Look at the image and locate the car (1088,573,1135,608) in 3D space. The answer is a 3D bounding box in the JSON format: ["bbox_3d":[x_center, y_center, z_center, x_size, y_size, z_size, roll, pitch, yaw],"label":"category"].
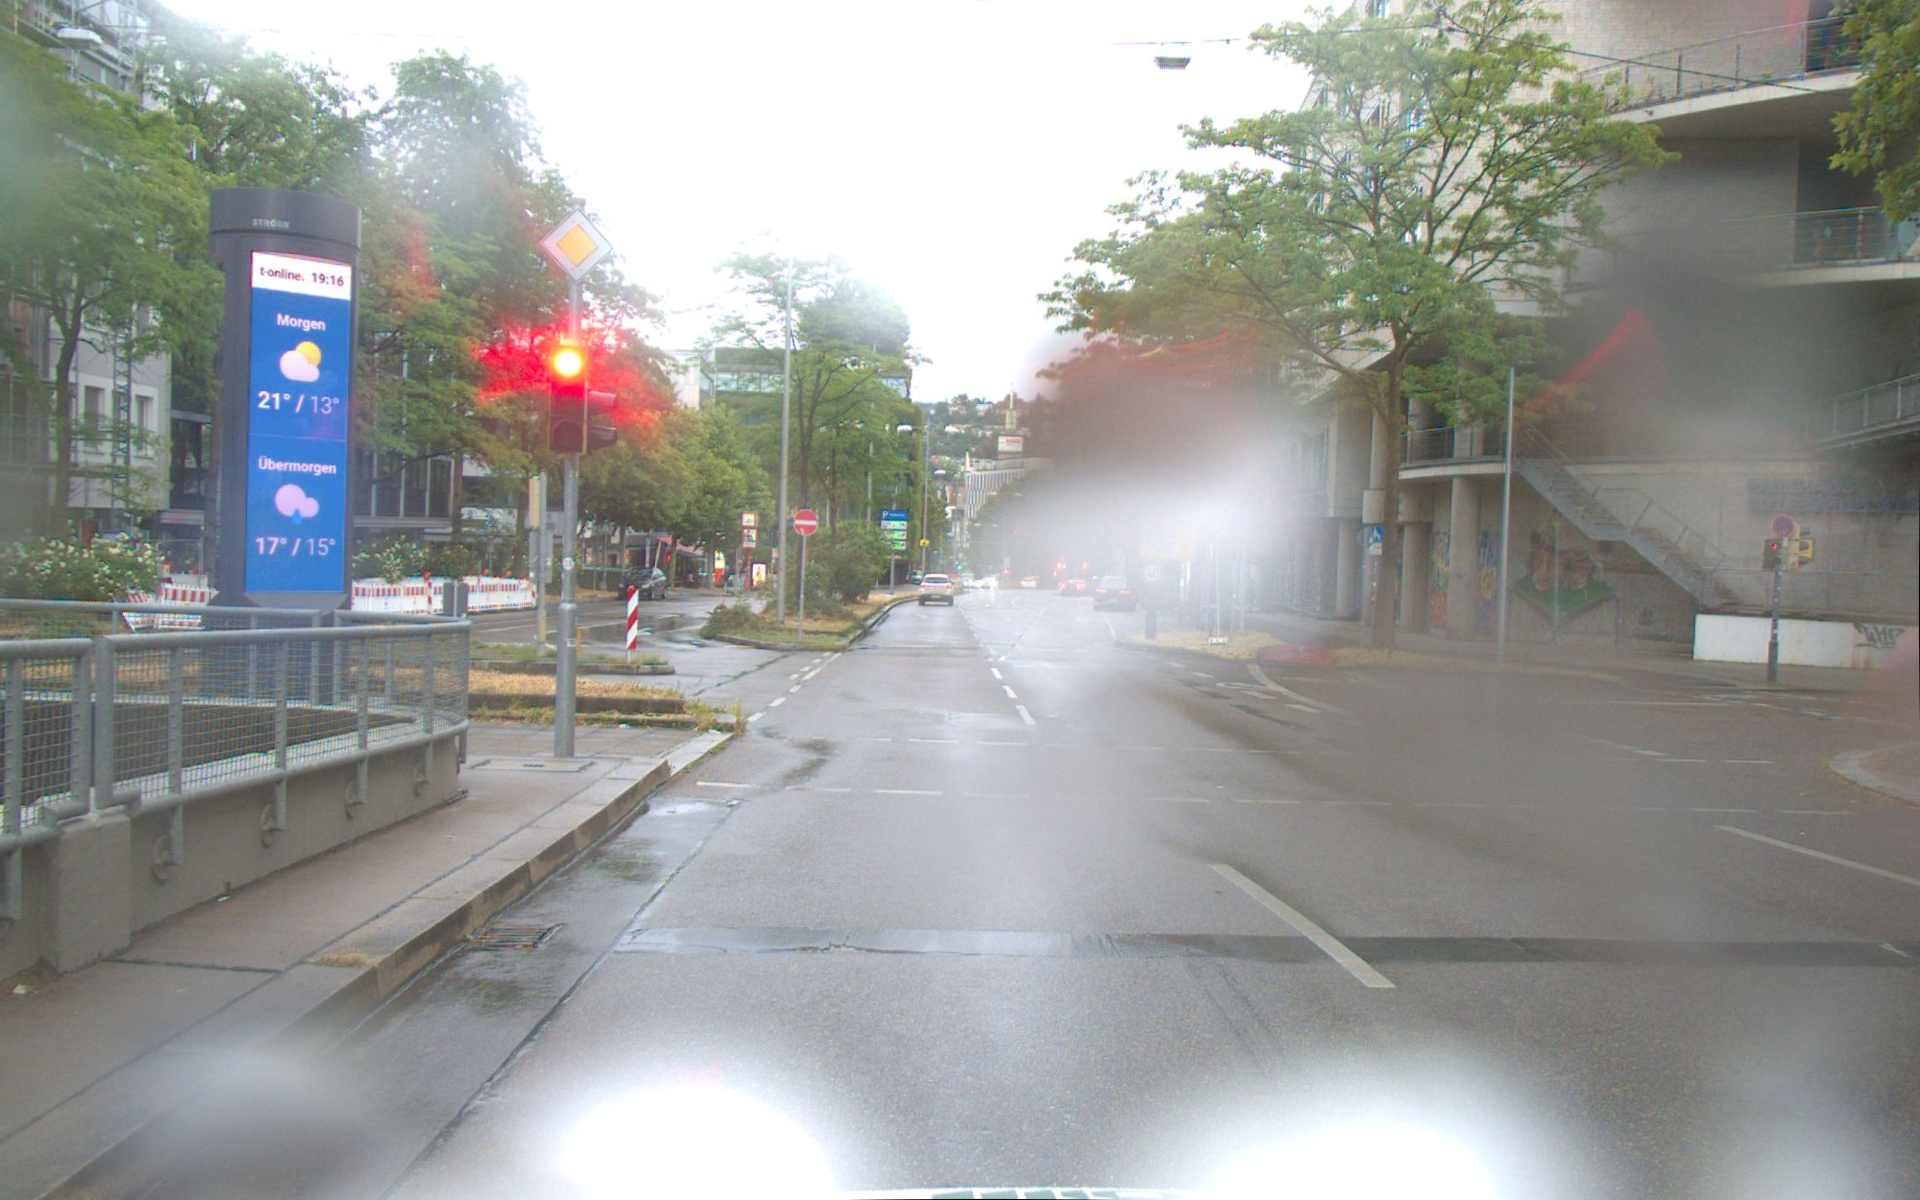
[{"bbox_3d":[7.666,-0.495,83.552,2.288,1.720,4.003,1,1,6],"label":"car"}]

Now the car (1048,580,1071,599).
[{"bbox_3d":[10.021,-1.053,166.974,1.953,1.766,3.999,1,0,-1],"label":"car"}]

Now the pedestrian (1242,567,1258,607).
[{"bbox_3d":[14.634,-0.651,83.408,0.759,1.954,0.703,1,-1,9],"label":"pedestrian"}]

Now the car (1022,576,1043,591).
[{"bbox_3d":[9.139,-2.101,208.370,1.951,1.789,4.003,2,0,11],"label":"car"}]

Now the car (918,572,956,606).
[{"bbox_3d":[-1.259,-0.582,88.211,1.792,1.668,4.298,2,0,-3],"label":"car"}]

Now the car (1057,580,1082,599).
[{"bbox_3d":[10.319,-0.989,155.581,1.953,1.754,3.999,1,0,-2],"label":"car"}]
